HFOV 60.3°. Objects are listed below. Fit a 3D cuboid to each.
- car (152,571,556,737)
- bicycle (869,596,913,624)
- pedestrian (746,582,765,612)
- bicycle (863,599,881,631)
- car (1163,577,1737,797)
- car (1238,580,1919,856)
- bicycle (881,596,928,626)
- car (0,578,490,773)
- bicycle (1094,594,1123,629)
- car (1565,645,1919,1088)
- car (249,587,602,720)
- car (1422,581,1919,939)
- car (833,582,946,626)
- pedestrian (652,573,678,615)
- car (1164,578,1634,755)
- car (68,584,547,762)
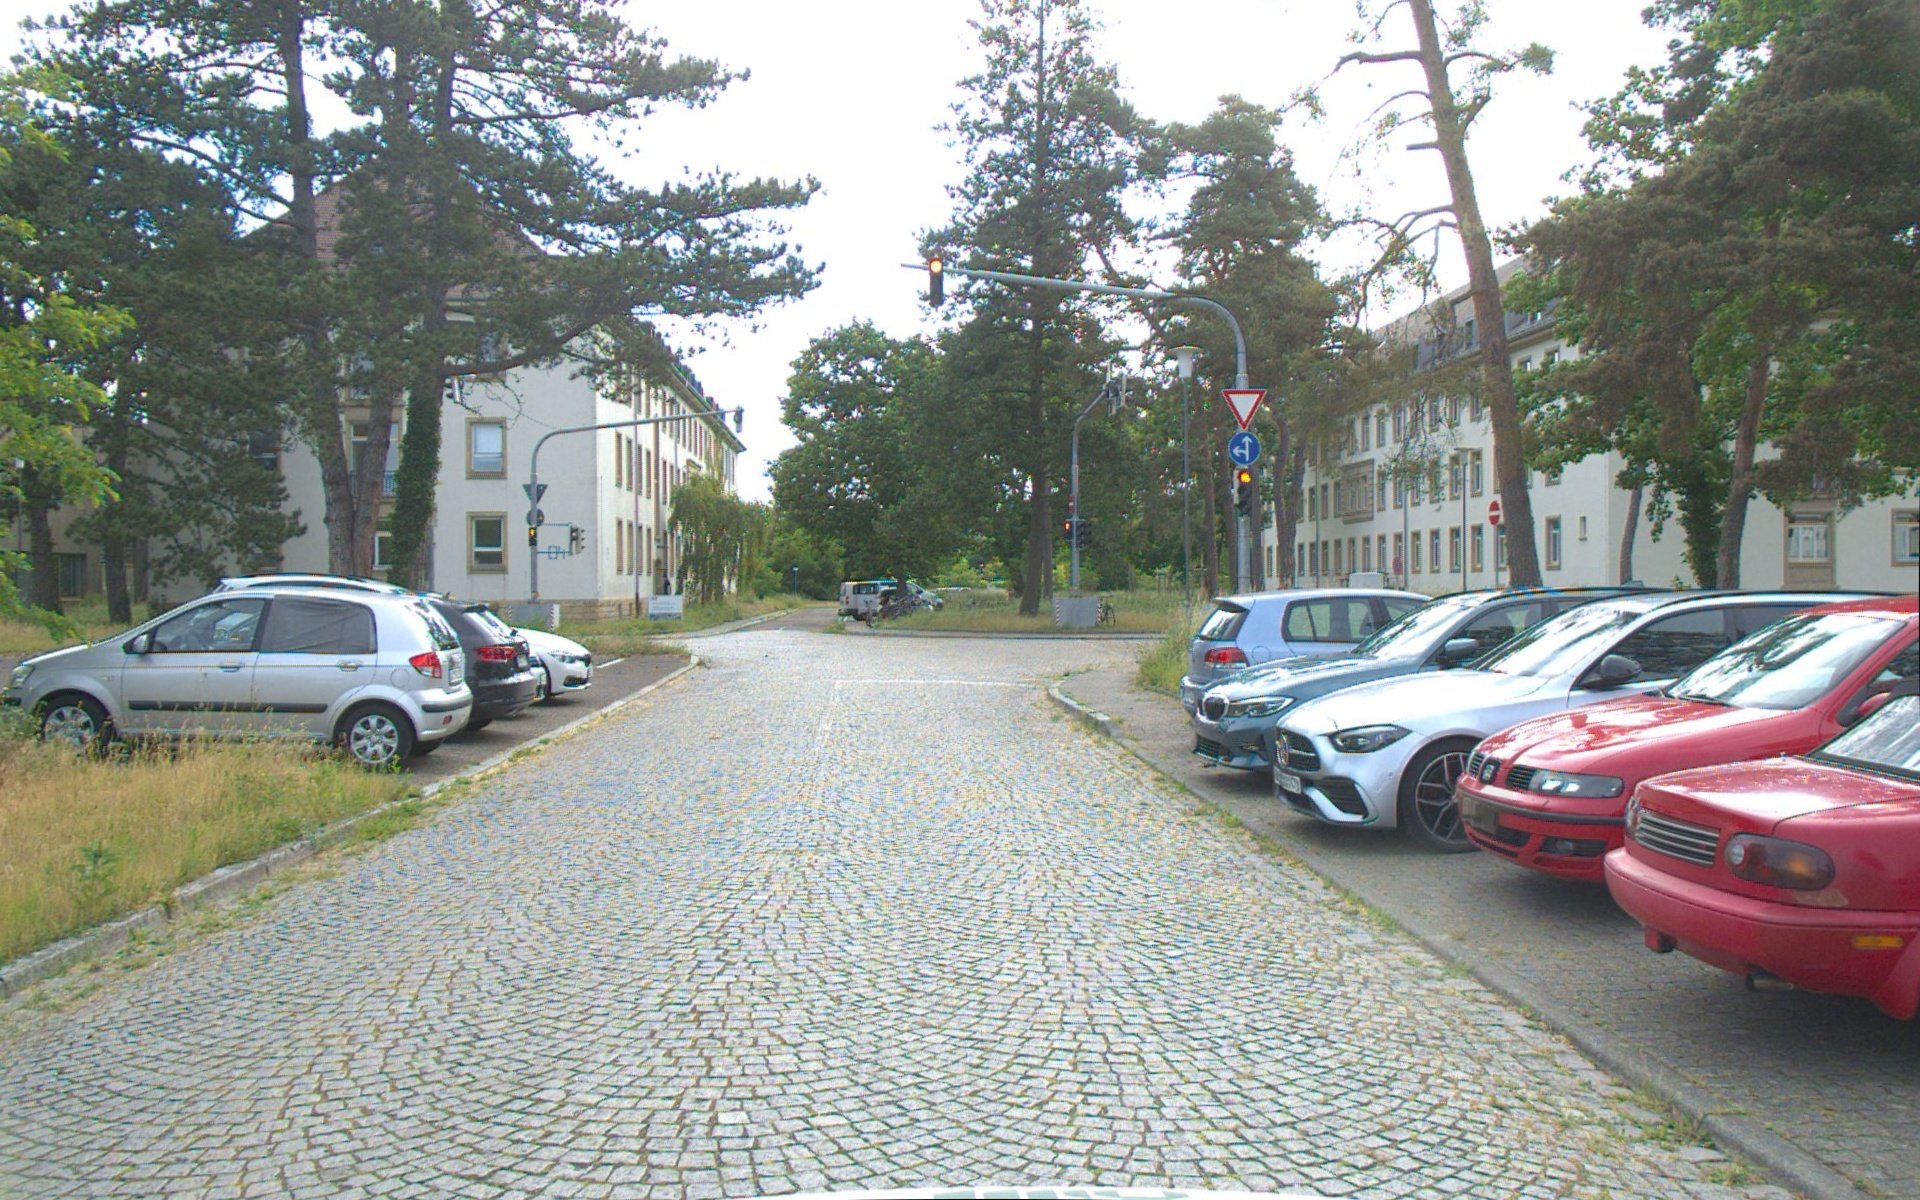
[{"bbox_3d":[-7.077,0.594,19.694,4.218,1.762,1.649,-1,0,-9],"label":"car"},{"bbox_3d":[-2.974,0.426,71.162,1.846,1.191,0.663,1,0,-9],"label":"bicycle"},{"bbox_3d":[-13.801,-0.202,111.484,1.216,1.993,1.119,1,0,-9],"label":"pedestrian"},{"bbox_3d":[-3.356,0.572,62.996,0.649,1.191,1.886,1,0,-3],"label":"bicycle"},{"bbox_3d":[3.904,0.621,13.351,4.157,1.505,1.703,-2,0,-14],"label":"car"},{"bbox_3d":[4.041,0.658,10.588,4.110,1.462,1.751,-1,0,-11],"label":"car"},{"bbox_3d":[-2.283,0.439,67.703,1.846,1.191,0.663,1,0,-9],"label":"bicycle"},{"bbox_3d":[-6.122,0.625,14.345,3.649,1.506,1.671,2,0,-6],"label":"car"},{"bbox_3d":[4.731,0.363,52.856,0.649,1.069,1.887,1,1,-3],"label":"bicycle"},{"bbox_3d":[4.218,0.805,5.889,3.514,1.244,1.628,-1,0,-2],"label":"car"},{"bbox_3d":[-7.030,0.666,22.154,4.219,1.581,1.808,-1,0,-9],"label":"car"},{"bbox_3d":[4.576,0.674,8.257,4.025,1.502,1.683,-1,0,-5],"label":"car"},{"bbox_3d":[-3.537,0.176,82.449,5.288,2.138,2.169,-1,0,-16],"label":"car"},{"bbox_3d":[-14.160,-0.290,79.480,1.053,1.993,1.120,1,0,-3],"label":"pedestrian"},{"bbox_3d":[4.157,0.585,15.923,4.058,1.489,1.630,-1,0,-9],"label":"car"},{"bbox_3d":[-6.495,0.681,16.921,4.219,1.581,1.808,-1,0,-9],"label":"car"}]
